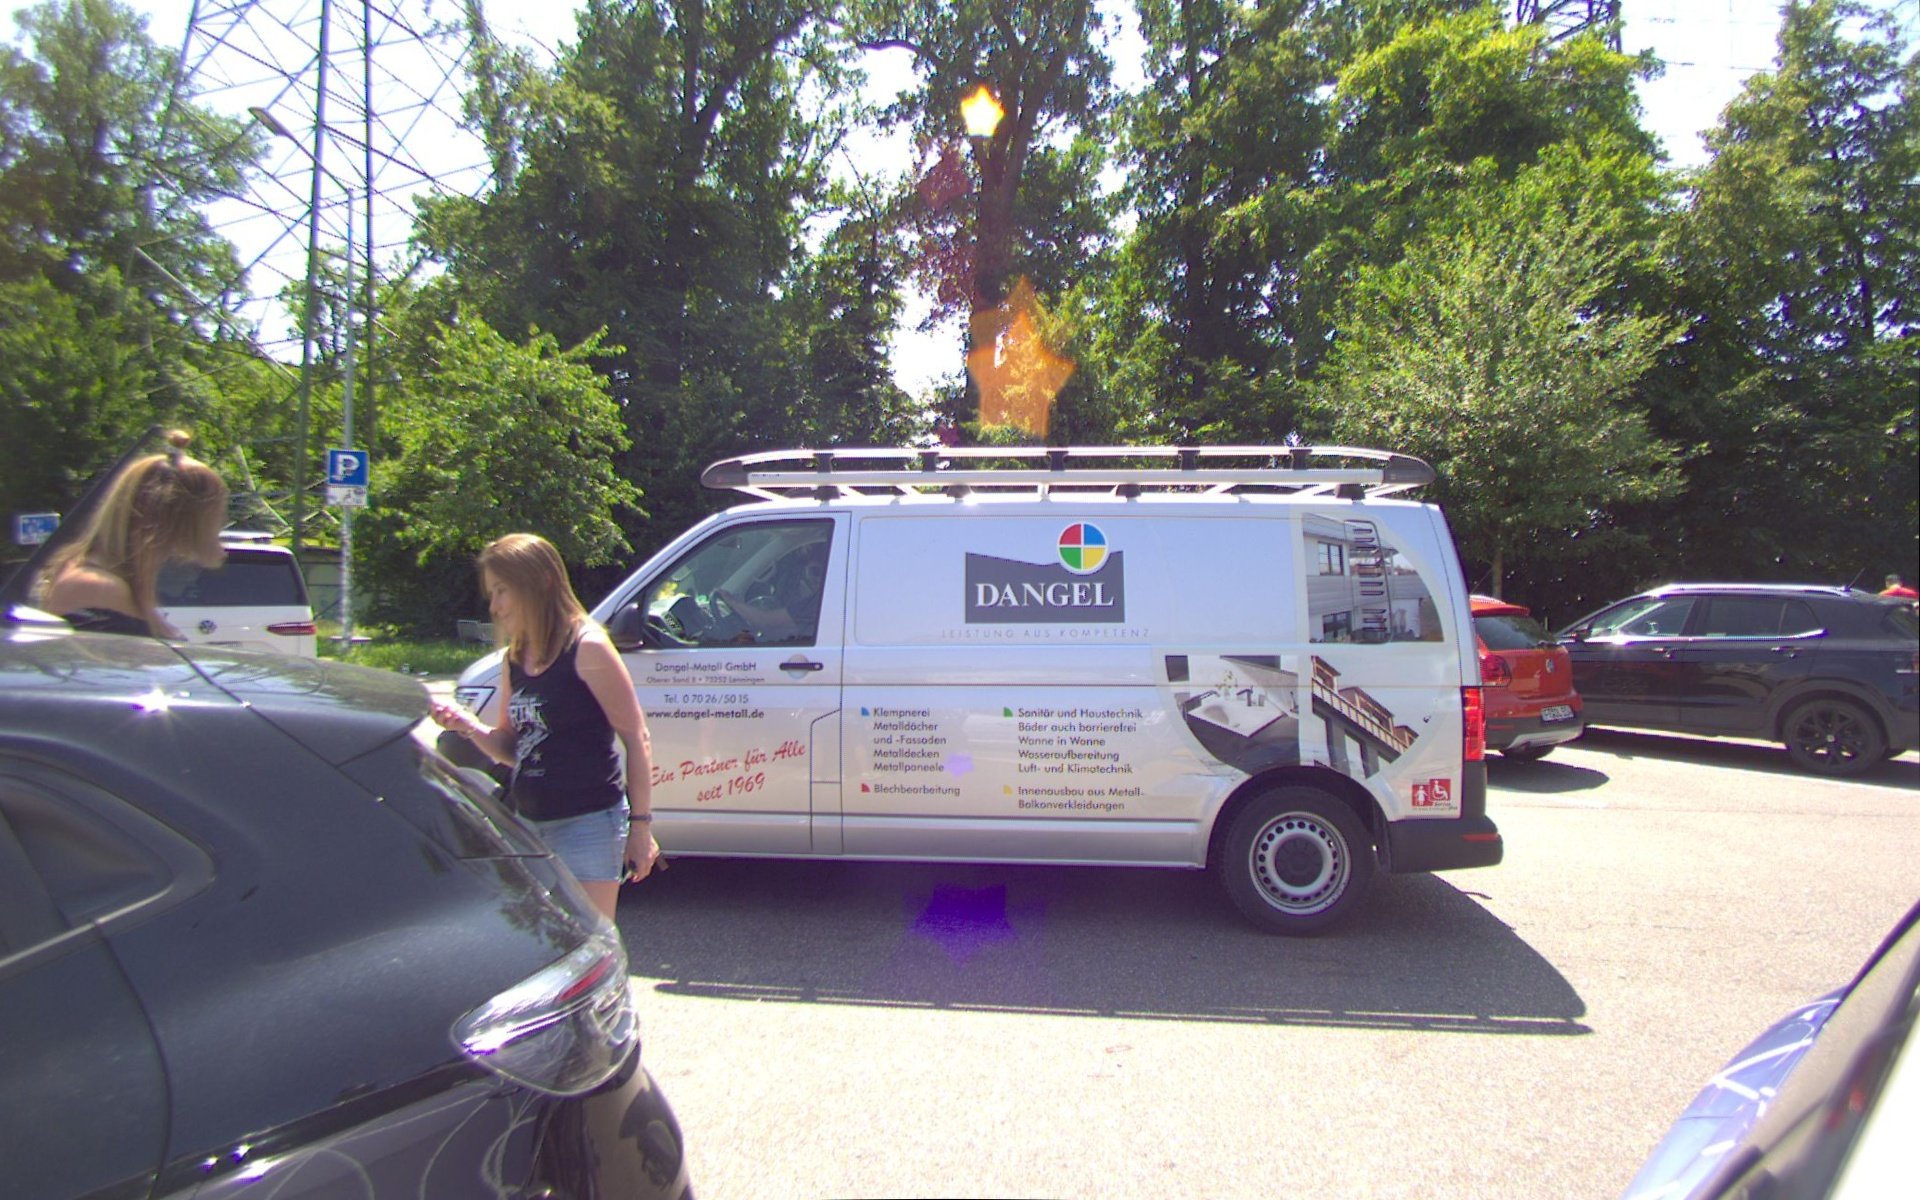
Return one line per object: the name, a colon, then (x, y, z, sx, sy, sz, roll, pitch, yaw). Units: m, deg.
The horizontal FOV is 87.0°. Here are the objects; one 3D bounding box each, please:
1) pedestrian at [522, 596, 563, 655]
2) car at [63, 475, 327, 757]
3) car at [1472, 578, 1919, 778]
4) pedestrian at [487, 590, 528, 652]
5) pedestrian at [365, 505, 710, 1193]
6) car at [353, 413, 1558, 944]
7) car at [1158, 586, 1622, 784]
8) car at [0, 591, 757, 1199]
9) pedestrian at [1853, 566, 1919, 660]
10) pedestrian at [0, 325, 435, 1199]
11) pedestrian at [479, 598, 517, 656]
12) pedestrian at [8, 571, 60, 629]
pedestrian: (-9.724, 0.593, 23.571, 0.722, 1.343, 0.669, 1, -1, -39)
car: (-8.075, 0.098, 10.620, 1.885, 2.353, 4.089, 0, 1, -40)
car: (7.230, 0.585, 9.670, 1.727, 1.566, 3.806, 0, 1, -39)
pedestrian: (-10.956, 0.501, 24.508, 0.722, 1.478, 0.669, 1, -1, -39)
pedestrian: (-1.071, 0.584, 2.705, 0.642, 1.606, 0.649, 1, -1, -2)
car: (-0.075, 0.288, 5.385, 5.218, 2.177, 1.997, 1, -1, 5)
car: (3.838, 0.614, 9.637, 1.604, 1.476, 3.810, 0, 1, -34)
car: (-2.136, 0.725, 0.582, 1.615, 1.503, 3.706, 0, -1, 44)
pedestrian: (13.791, 0.191, 14.725, 0.846, 1.316, 0.894, 1, -1, -18)
pedestrian: (-1.879, 0.436, 2.361, 0.760, 1.896, 0.915, 1, -1, 6)
pedestrian: (-10.444, 0.609, 22.874, 0.630, 1.287, 0.579, 1, -1, -39)
pedestrian: (-22.488, -0.004, 24.593, 0.599, 1.391, 0.705, 1, -1, 15)
